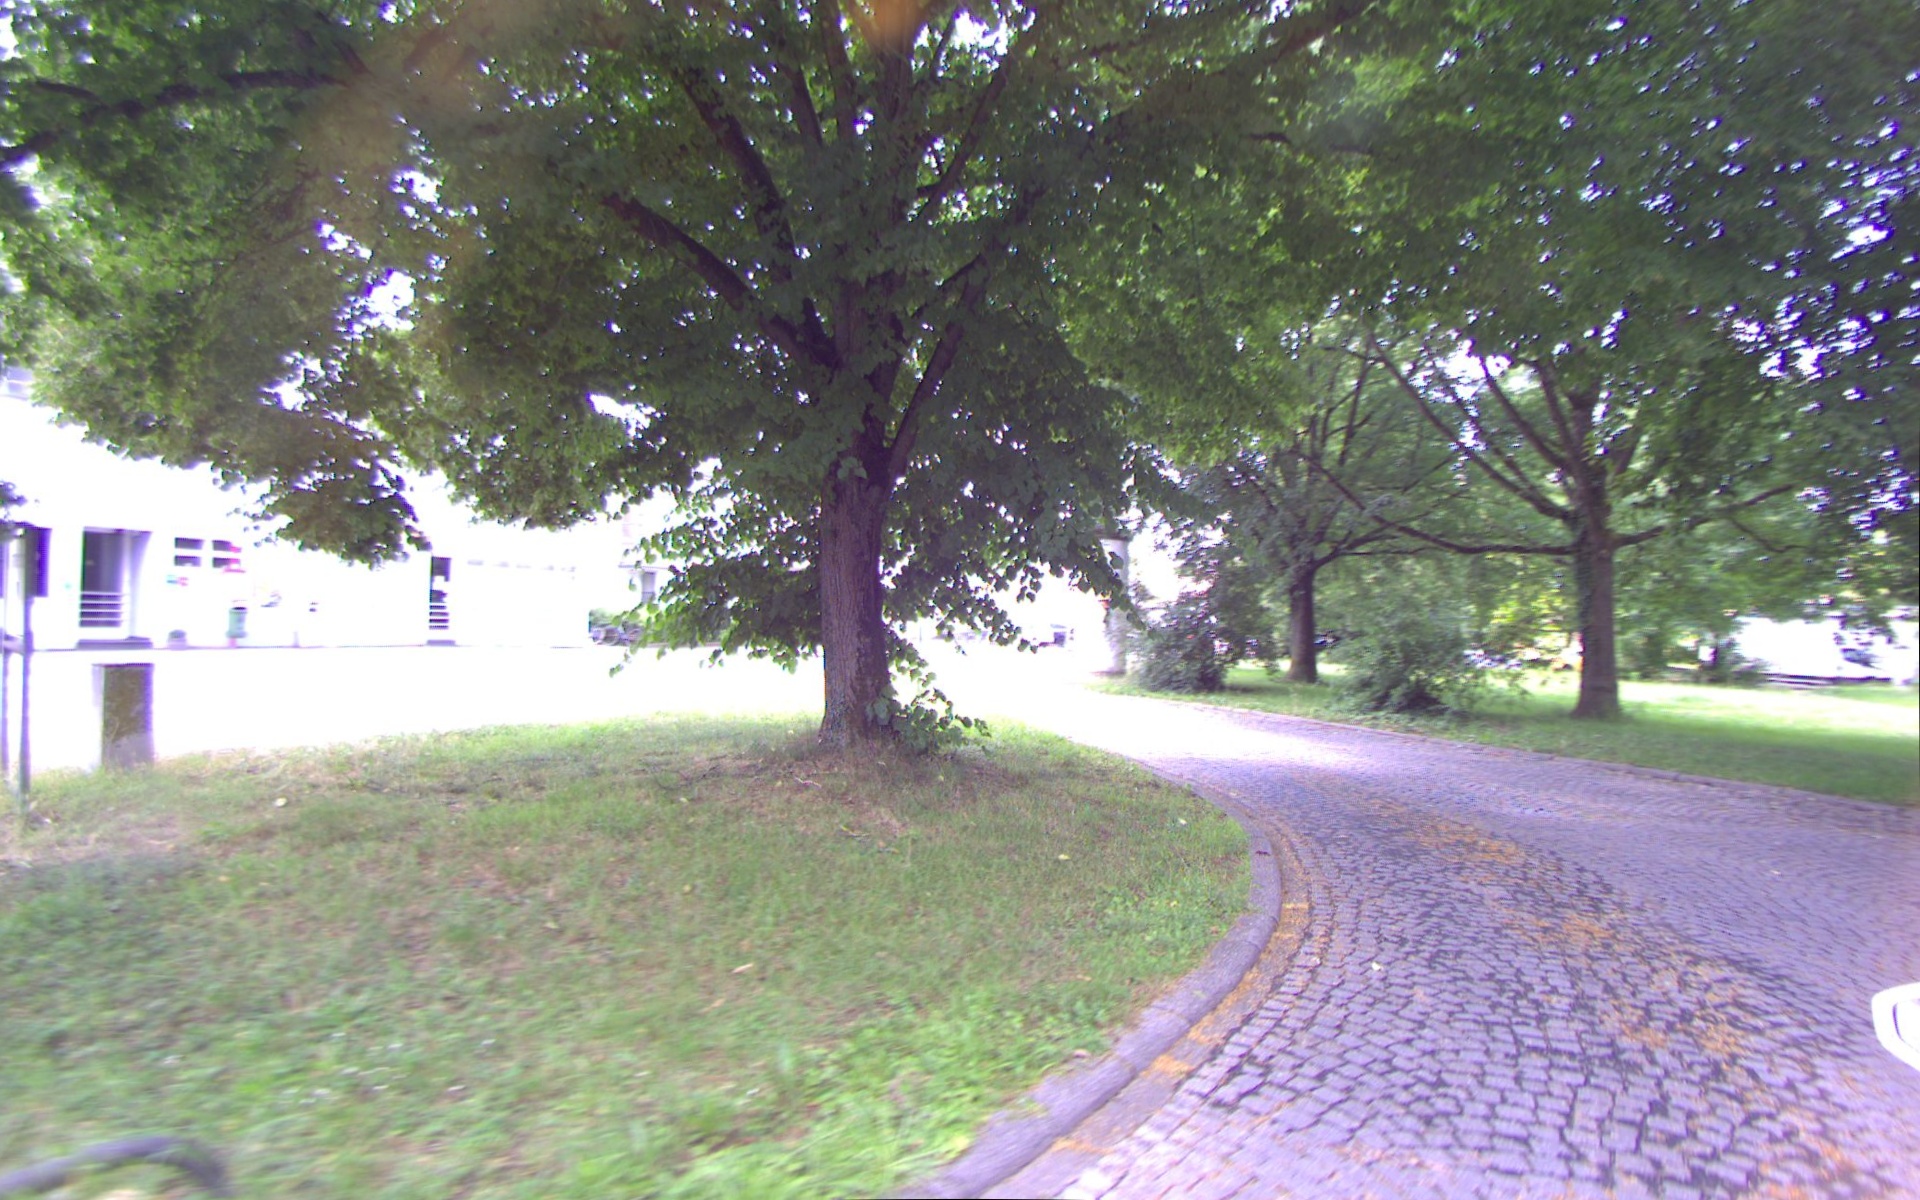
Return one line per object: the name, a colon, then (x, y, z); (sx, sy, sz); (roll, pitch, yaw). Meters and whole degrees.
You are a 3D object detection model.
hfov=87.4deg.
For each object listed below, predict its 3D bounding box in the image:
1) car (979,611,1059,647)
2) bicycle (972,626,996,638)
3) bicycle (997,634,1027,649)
car: (3.723, 1.824, 62.954); (4.556, 2.040, 2.000); (2, -2, 21)
bicycle: (1.675, 2.254, 71.178); (1.642, 0.767, 0.570); (4, 0, 0)
bicycle: (3.034, 2.443, 58.815); (1.642, 0.767, 0.570); (4, 0, 21)
